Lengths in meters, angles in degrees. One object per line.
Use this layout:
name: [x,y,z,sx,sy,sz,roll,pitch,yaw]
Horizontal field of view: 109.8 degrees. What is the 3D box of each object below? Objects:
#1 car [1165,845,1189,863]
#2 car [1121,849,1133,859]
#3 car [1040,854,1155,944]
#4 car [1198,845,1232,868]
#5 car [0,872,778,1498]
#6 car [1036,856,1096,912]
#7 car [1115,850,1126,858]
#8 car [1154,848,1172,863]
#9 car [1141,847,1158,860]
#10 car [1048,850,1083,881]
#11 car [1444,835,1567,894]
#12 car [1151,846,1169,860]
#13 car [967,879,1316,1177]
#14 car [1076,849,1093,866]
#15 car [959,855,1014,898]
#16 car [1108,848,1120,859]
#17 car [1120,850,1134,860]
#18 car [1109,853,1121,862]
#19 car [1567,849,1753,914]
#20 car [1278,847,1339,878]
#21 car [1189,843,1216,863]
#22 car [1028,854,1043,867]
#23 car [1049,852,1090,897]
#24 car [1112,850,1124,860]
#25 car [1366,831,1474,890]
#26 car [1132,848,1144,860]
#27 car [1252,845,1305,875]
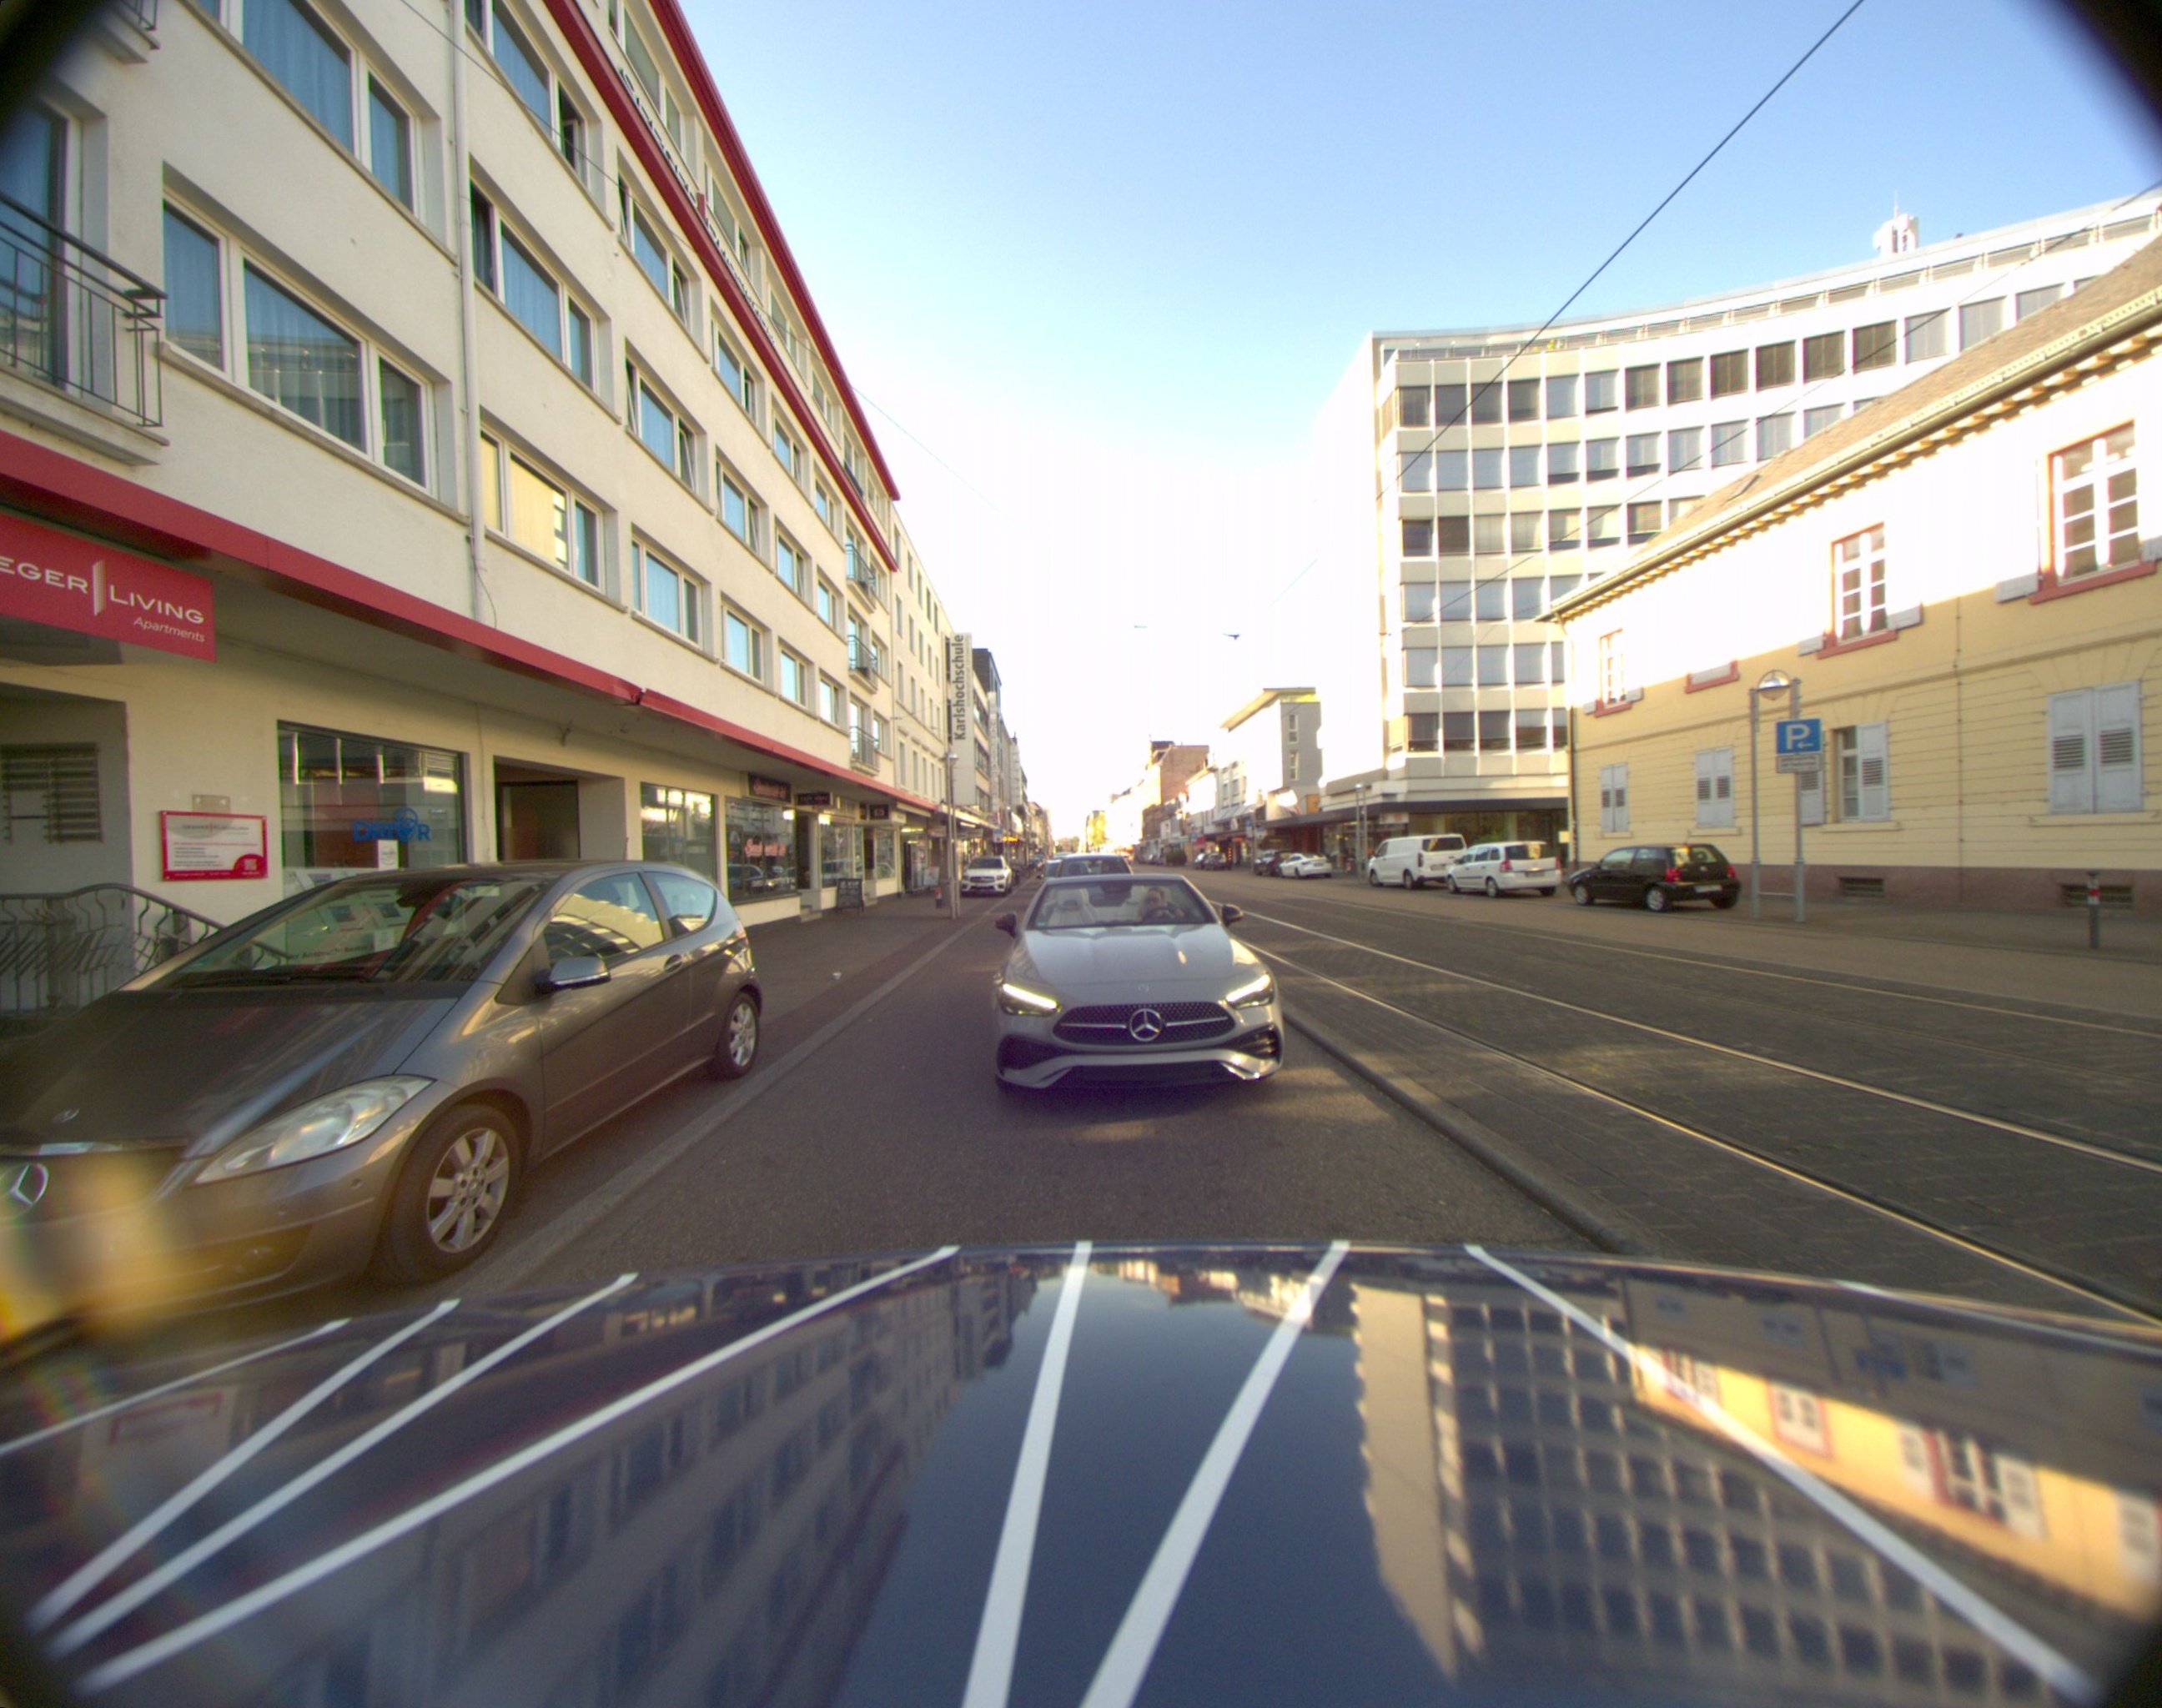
car: [11.355,0.027,90.286,2.200,2.030,3.999,-1,0,-1]
car: [9.539,-0.085,157.346,1.999,2.002,3.999,-1,0,-2]
car: [0.199,0.813,15.636,1.927,1.533,3.998,-2,0,-4]
car: [11.553,0.161,65.632,1.999,1.849,3.998,-2,1,-2]
car: [-3.215,0.933,3.970,1.683,1.537,3.999,-2,0,-1]
car: [-0.468,0.854,23.454,1.648,1.506,3.844,-2,0,-1]
car: [9.064,0.044,176.544,2.148,1.850,3.998,-2,1,-2]
car: [10.830,0.199,100.886,1.998,2.002,4.000,-1,0,1]
car: [10.745,-0.049,119.520,1.999,2.002,5.320,-1,0,-2]
car: [-0.944,0.671,46.932,1.999,1.793,3.999,-2,1,-1]
car: [12.776,0.265,23.164,1.641,1.600,4.005,-2,1,3]
car: [11.557,-0.182,111.314,1.999,2.002,3.998,-2,1,-2]
car: [0.206,1.009,6.169,1.884,1.375,3.998,-2,1,-4]
car: [0.392,0.426,93.592,1.947,2.002,3.999,-2,1,-1]
car: [-3.851,0.885,31.717,1.999,1.620,3.998,-1,0,-4]
car: [6.260,-0.098,144.086,1.914,1.883,3.855,-2,1,-2]
car: [7.091,0.167,118.533,1.760,1.587,3.999,-1,0,-2]
car: [6.154,0.687,136.517,1.964,1.499,4.000,-2,1,4]
car: [12.825,0.542,17.080,1.688,1.246,3.212,-2,1,-1]
car: [12.564,0.420,42.251,1.999,1.521,4.373,-2,1,-1]
car: [11.825,-0.075,74.109,1.789,1.870,3.999,-1,0,-2]
car: [-5.709,0.830,95.905,1.714,1.430,3.756,-2,1,-1]
car: [-0.494,0.816,31.974,1.573,1.670,3.688,-2,1,-1]
car: [7.434,0.197,151.550,1.999,2.002,3.998,-2,1,-2]
car: [12.677,0.229,28.786,2.040,2.002,4.621,-1,0,1]
car: [10.022,-0.053,134.500,1.998,2.002,4.001,-1,0,3]
car: [12.329,0.358,47.695,1.999,1.694,4.107,-3,1,-2]
